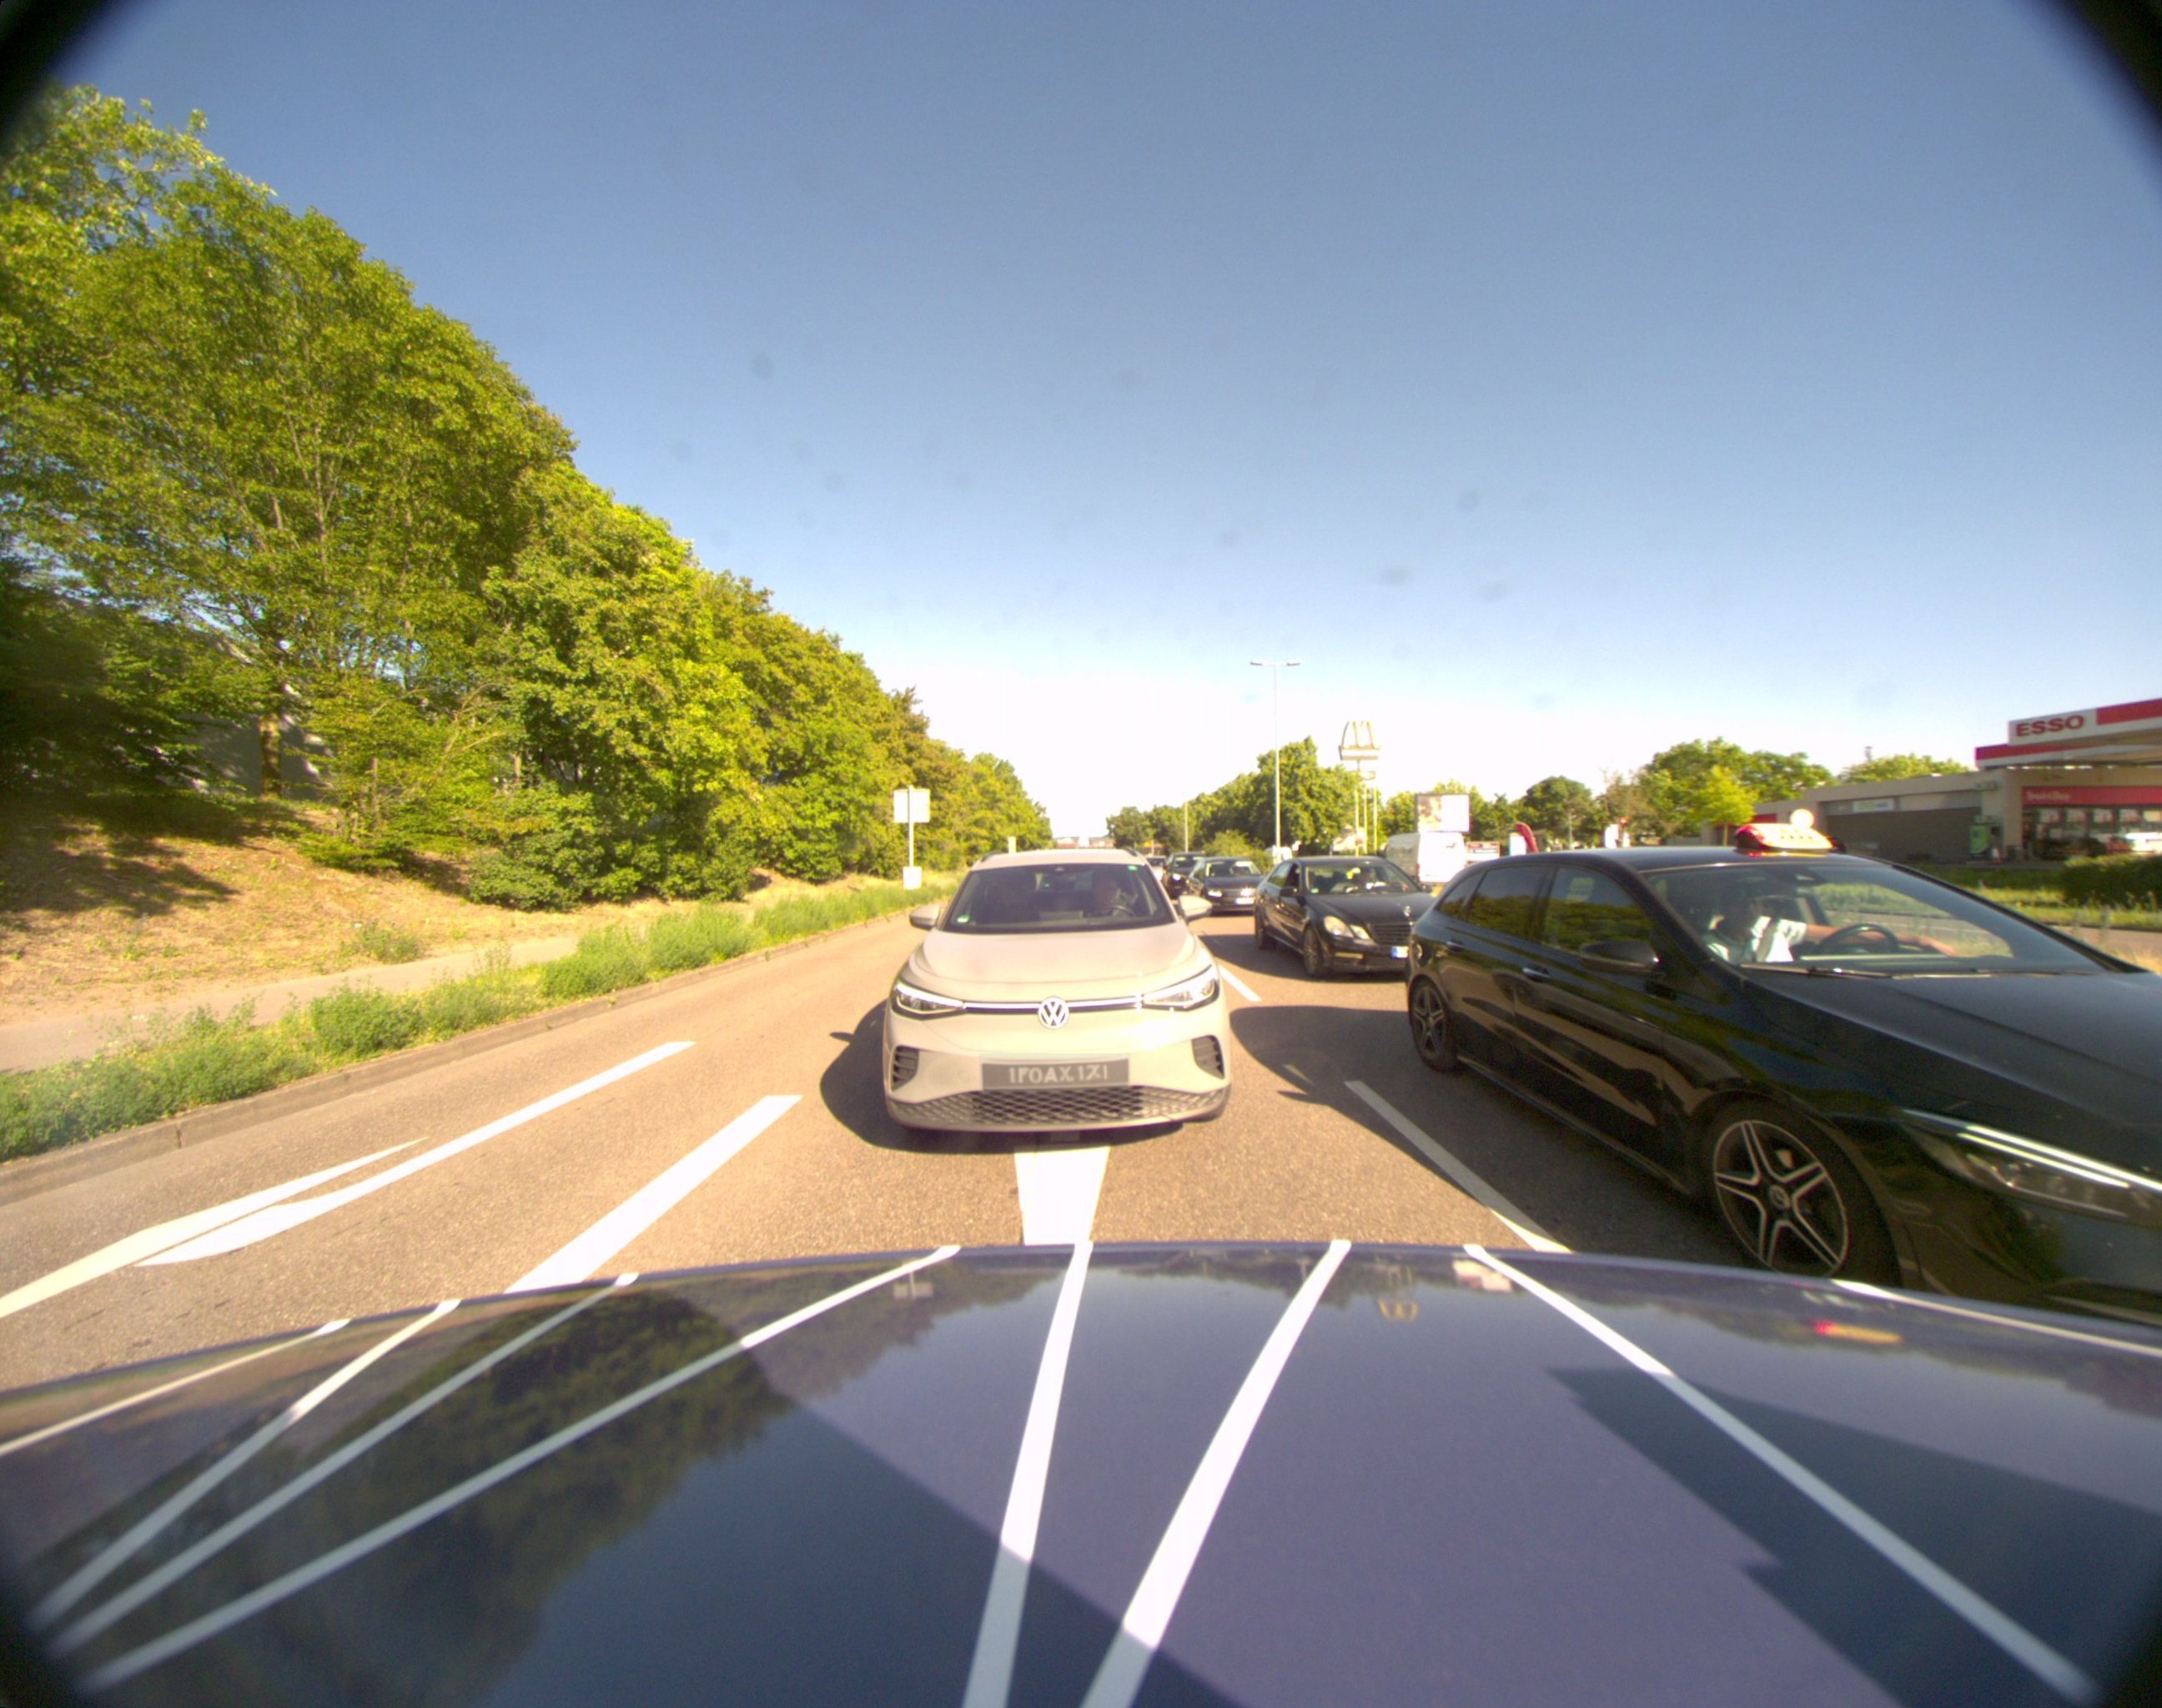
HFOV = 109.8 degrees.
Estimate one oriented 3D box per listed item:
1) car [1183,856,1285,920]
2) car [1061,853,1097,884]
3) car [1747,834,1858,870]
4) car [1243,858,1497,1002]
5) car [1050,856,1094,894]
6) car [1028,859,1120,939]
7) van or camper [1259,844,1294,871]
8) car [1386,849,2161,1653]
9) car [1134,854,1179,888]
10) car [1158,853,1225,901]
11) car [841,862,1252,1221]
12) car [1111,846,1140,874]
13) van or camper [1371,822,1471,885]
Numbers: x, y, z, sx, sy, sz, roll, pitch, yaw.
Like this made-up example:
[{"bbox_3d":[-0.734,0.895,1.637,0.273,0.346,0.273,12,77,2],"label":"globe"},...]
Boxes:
[{"bbox_3d":[3.943,0.827,20.277,1.862,1.472,4.403,-1,0,1],"label":"car"},{"bbox_3d":[-0.080,0.748,40.774,1.765,1.503,3.760,-2,0,1],"label":"car"},{"bbox_3d":[37.705,-0.099,39.858,1.998,1.759,4.118,-2,0,2],"label":"car"},{"bbox_3d":[3.633,0.849,10.512,1.862,1.515,4.403,-1,0,1],"label":"car"},{"bbox_3d":[-0.348,0.886,33.259,1.765,1.503,3.760,-2,0,1],"label":"car"},{"bbox_3d":[-0.116,0.897,16.821,1.765,1.503,3.760,-2,0,1],"label":"car"},{"bbox_3d":[20.259,0.335,78.901,1.999,2.635,5.956,1,0,0],"label":"van or camper"},{"bbox_3d":[3.153,0.808,3.610,1.804,1.616,4.188,-1,0,2],"label":"car"},{"bbox_3d":[3.713,0.799,38.045,1.862,1.578,4.403,-1,0,1],"label":"car"},{"bbox_3d":[3.976,0.772,27.958,1.862,1.578,4.403,-1,0,1],"label":"car"},{"bbox_3d":[-0.134,0.898,5.504,1.871,1.588,3.932,-2,0,1],"label":"car"},{"bbox_3d":[3.851,0.480,66.327,2.289,2.274,5.381,-1,0,1],"label":"car"},{"bbox_3d":[15.131,-0.034,34.307,2.182,2.557,6.757,-1,0,7],"label":"van or camper"}]
